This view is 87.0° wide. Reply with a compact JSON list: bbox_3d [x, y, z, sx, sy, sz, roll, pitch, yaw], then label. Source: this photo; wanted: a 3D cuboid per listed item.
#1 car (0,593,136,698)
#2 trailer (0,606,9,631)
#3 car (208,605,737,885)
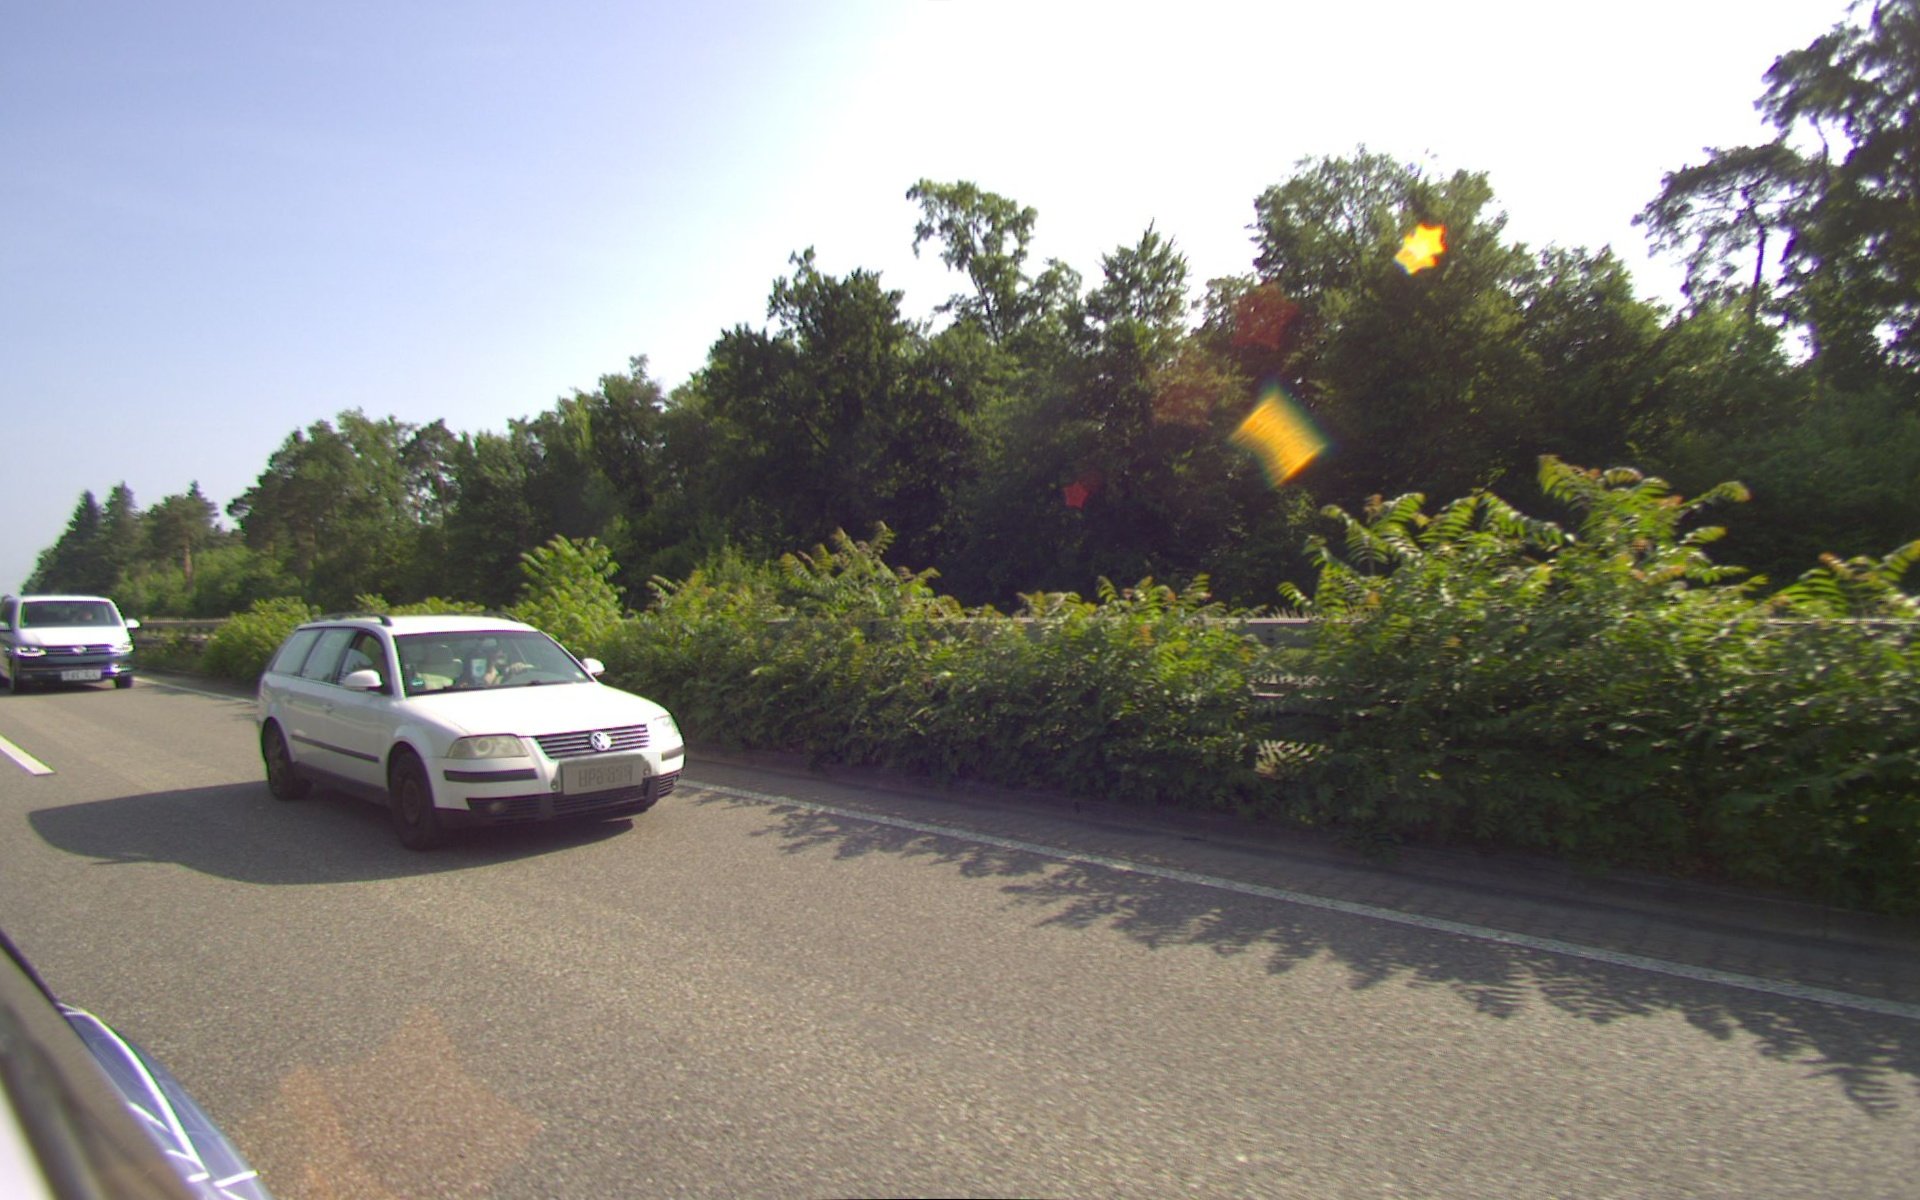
[{"bbox_3d":[-18.964,0.881,21.243,4.705,1.960,1.887,-1,-1,42],"label":"car"},{"bbox_3d":[-164.685,3.153,172.386,12.407,4.241,2.802,-1,-2,42],"label":"trailer"},{"bbox_3d":[-4.057,0.830,7.850,5.260,1.497,1.732,-1,-1,41],"label":"car"}]
